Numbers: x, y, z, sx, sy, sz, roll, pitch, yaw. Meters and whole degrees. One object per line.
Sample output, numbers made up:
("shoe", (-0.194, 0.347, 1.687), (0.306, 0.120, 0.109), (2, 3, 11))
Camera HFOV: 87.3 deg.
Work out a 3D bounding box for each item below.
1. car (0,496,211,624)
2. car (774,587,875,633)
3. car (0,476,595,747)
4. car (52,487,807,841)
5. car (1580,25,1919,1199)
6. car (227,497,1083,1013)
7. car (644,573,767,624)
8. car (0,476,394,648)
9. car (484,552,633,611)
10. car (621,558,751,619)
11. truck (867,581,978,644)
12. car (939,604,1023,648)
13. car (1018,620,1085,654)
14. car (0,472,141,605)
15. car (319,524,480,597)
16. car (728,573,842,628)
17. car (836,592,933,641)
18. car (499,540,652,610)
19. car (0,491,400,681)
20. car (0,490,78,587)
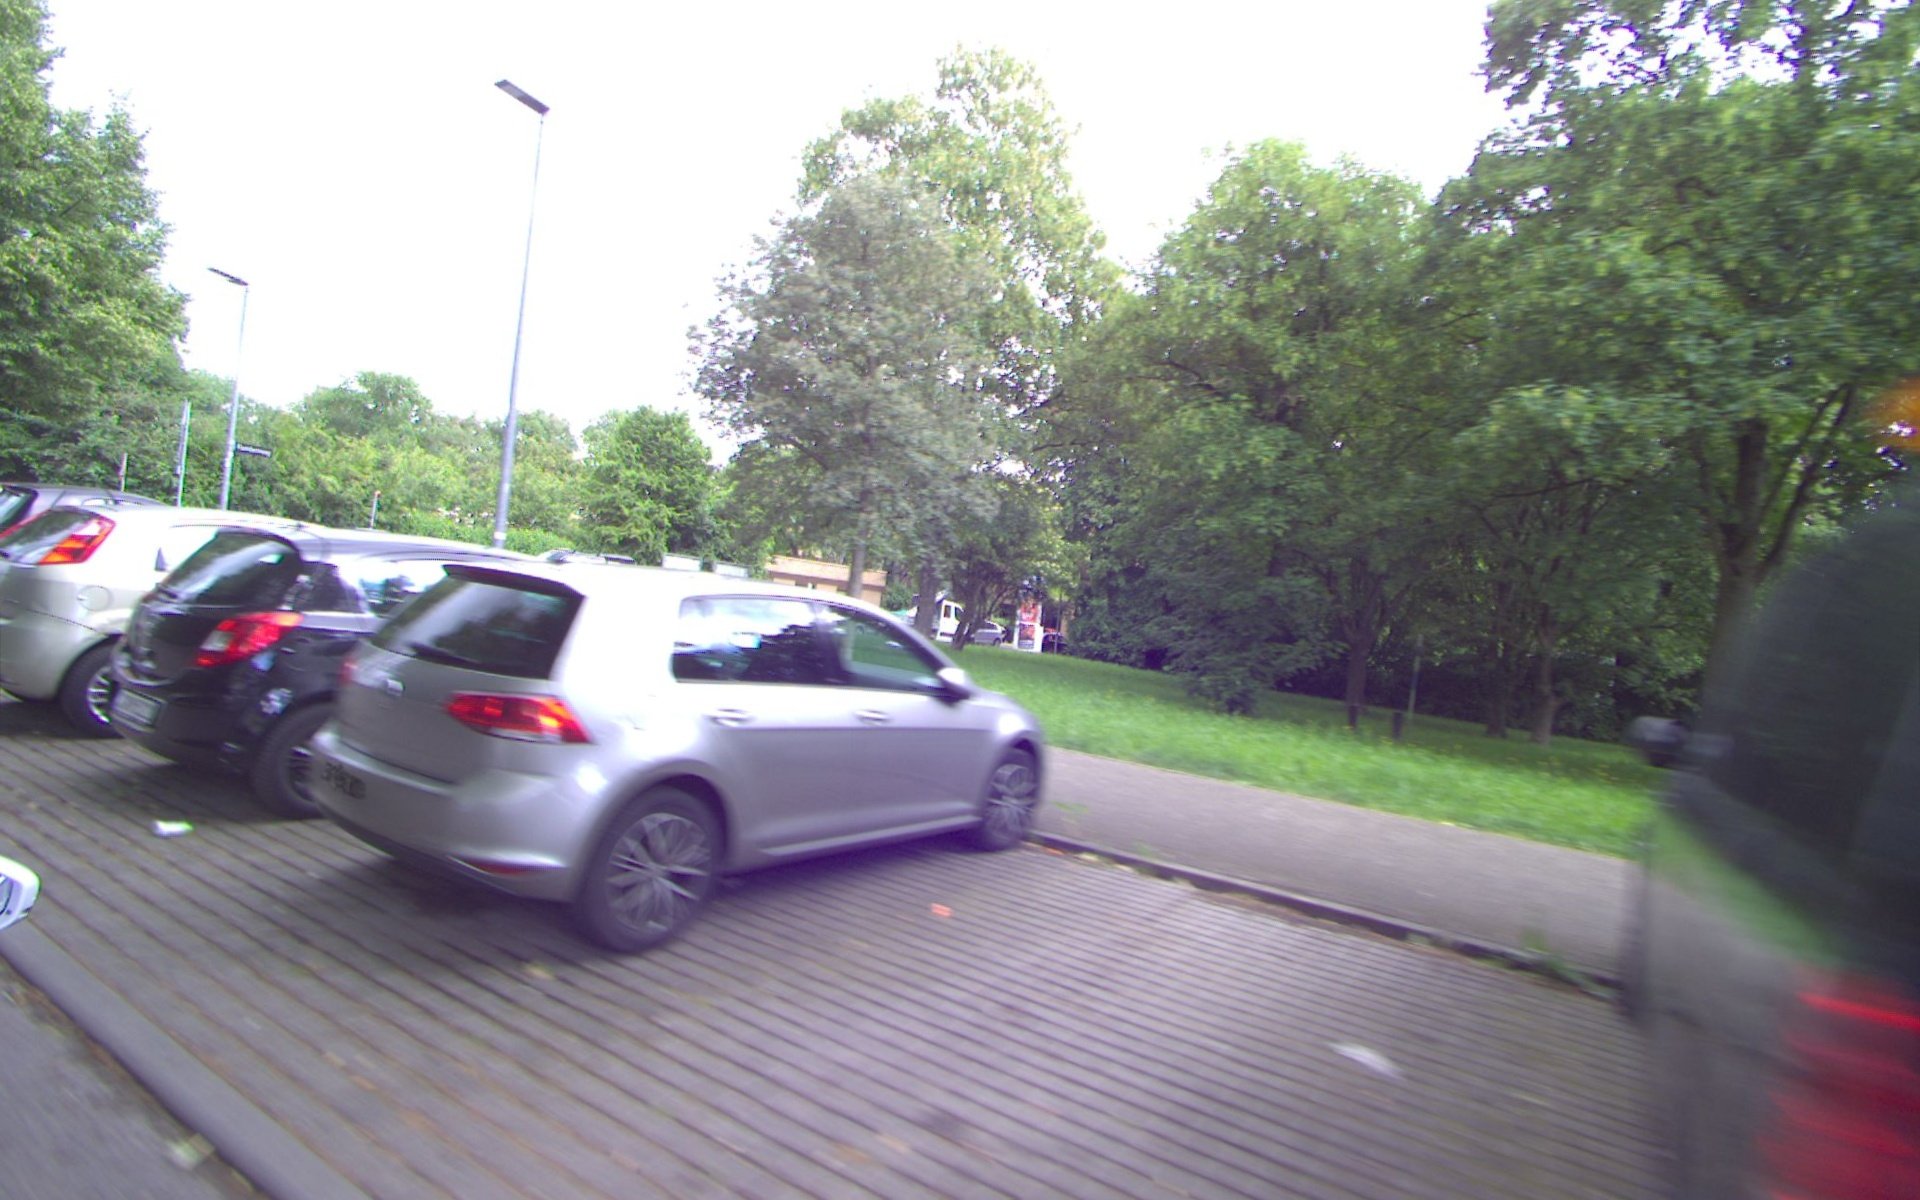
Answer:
("car", (-11.602, -0.561, 12.029), (1.794, 1.375, 3.831), (6, 0, 36))
("car", (-5.890, 0.471, 44.035), (1.678, 1.544, 4.280), (6, -1, 39))
("car", (-5.159, 0.106, 7.859), (1.781, 1.547, 3.989), (6, 0, 33))
("car", (-3.070, 0.327, 6.603), (1.735, 1.530, 3.960), (7, 1, 35))
("car", (2.835, 0.765, 2.360), (2.131, 2.040, 4.954), (7, 1, 34))
("car", (-1.110, 0.524, 5.239), (1.764, 1.530, 3.961), (7, 1, 34))
("car", (-9.838, -0.045, 39.156), (1.678, 1.445, 4.426), (6, -1, 39))
("car", (-8.979, -0.364, 11.572), (1.789, 1.578, 3.835), (6, 0, 32))
("car", (-13.613, -0.581, 34.315), (1.678, 1.445, 4.391), (6, -1, 38))
("car", (-12.312, -0.476, 45.547), (2.106, 2.081, 5.317), (7, -1, 39))
("truck", (-1.754, 0.668, 49.323), (2.161, 2.455, 5.504), (7, -1, 39))
("car", (1.340, 1.629, 61.413), (2.106, 2.081, 5.317), (7, -1, 39))
("car", (5.324, 2.169, 58.144), (1.678, 1.544, 4.280), (6, -1, 39))
("car", (-13.848, -0.972, 13.411), (1.949, 1.670, 4.122), (6, 0, 36))
("car", (-16.911, -1.161, 30.488), (1.742, 1.688, 3.776), (7, -1, 40))
("car", (-8.591, 0.073, 49.822), (2.106, 2.081, 5.317), (7, -1, 39))
("car", (-4.084, 0.944, 55.539), (2.106, 2.081, 5.317), (7, -1, 39))
("car", (-15.465, -0.954, 40.719), (2.106, 2.081, 5.317), (7, -1, 39))
("car", (-7.589, -0.129, 9.024), (1.904, 1.448, 3.990), (6, 0, 32))
("car", (-15.913, -1.099, 14.956), (1.823, 1.420, 3.833), (6, 0, 34))
